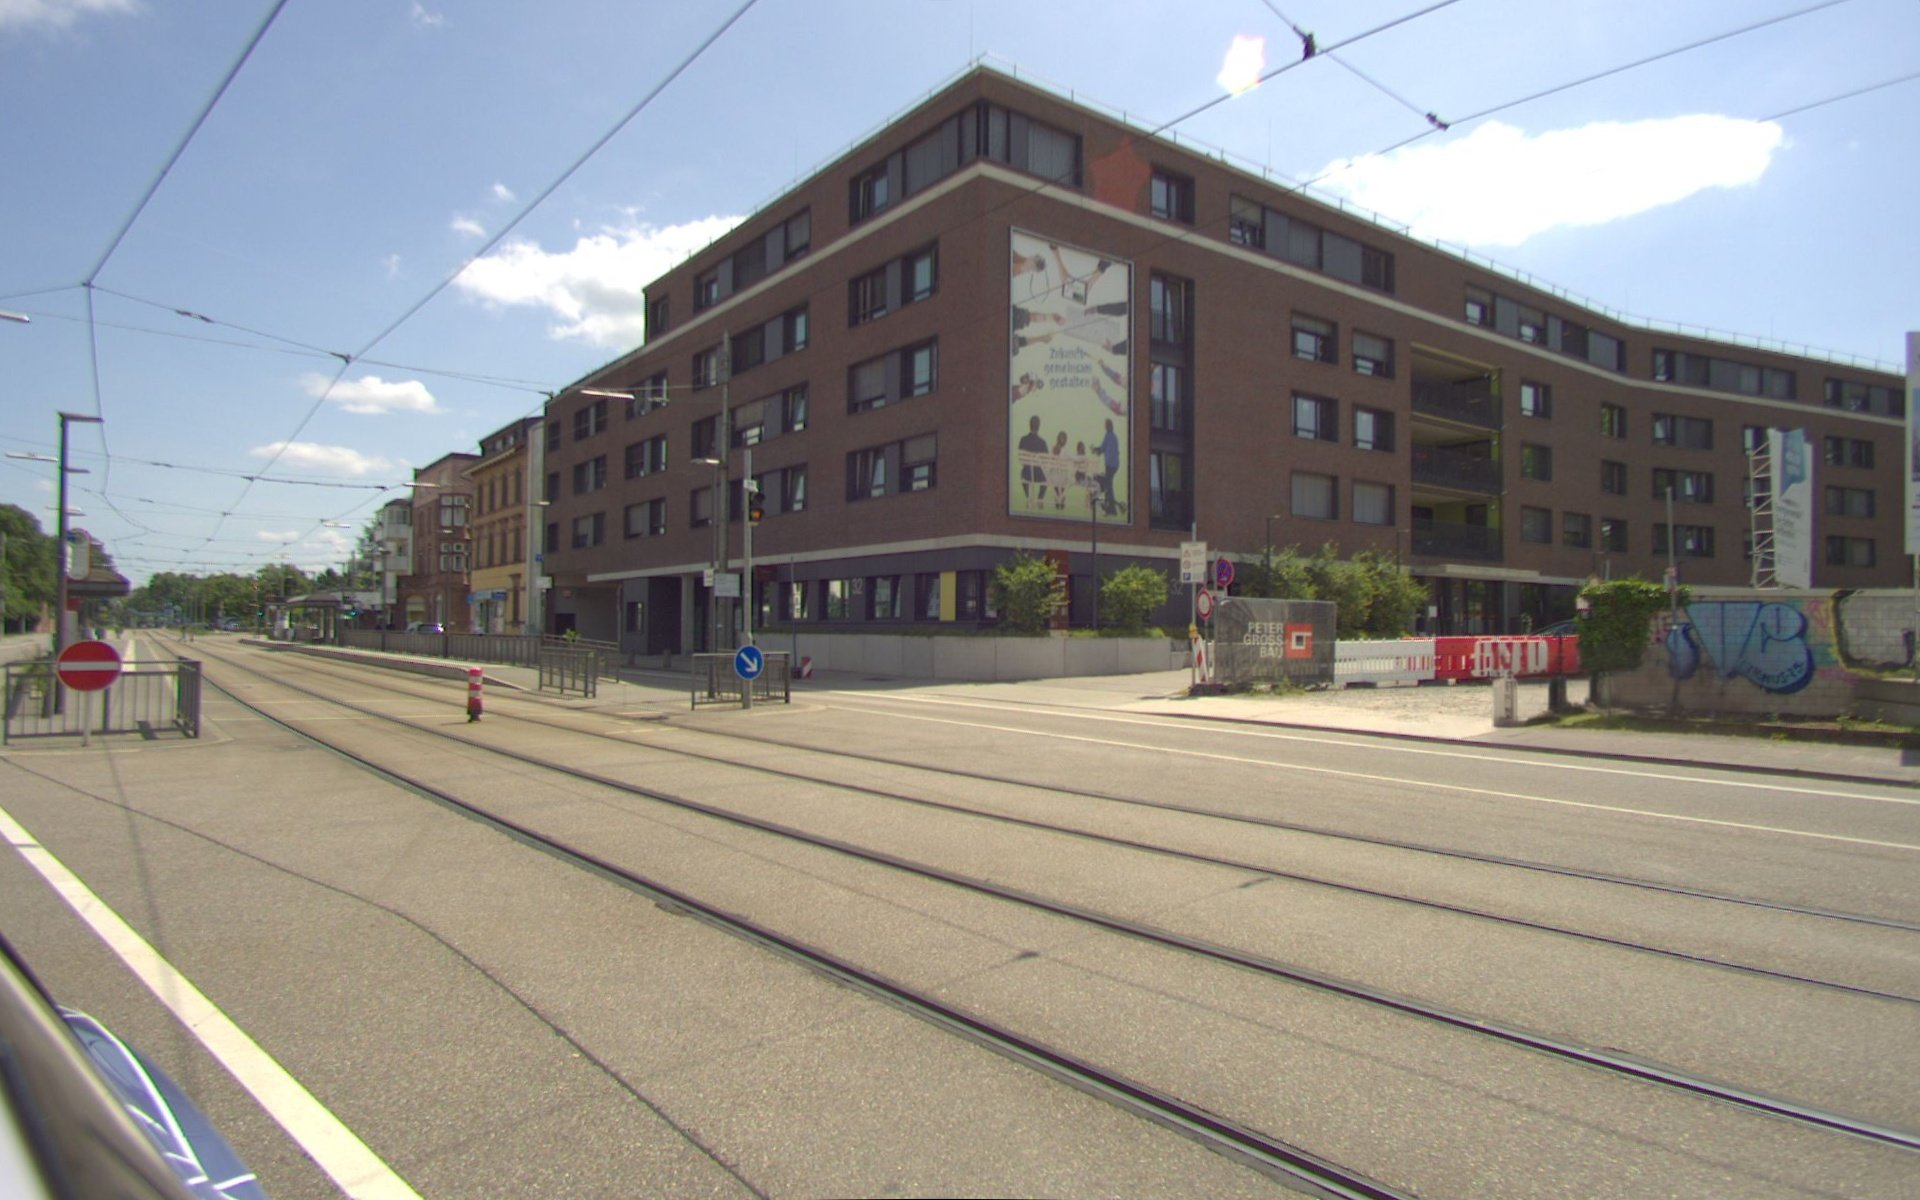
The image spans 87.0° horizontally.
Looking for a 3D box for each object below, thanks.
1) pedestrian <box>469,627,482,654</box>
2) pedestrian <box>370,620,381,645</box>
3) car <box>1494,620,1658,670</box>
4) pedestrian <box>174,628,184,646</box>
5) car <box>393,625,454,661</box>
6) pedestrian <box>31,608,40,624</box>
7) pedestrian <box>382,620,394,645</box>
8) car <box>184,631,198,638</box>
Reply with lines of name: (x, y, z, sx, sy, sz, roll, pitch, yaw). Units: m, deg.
pedestrian: (-24.912, 2.078, 52.006, 0.430, 1.395, 0.537, 4, -3, -40)
pedestrian: (-47.112, 2.597, 81.589, 0.668, 2.029, 0.686, 0, -1, -41)
car: (18.579, 1.324, 30.663, 1.603, 1.390, 3.917, 1, -2, -38)
pedestrian: (-66.521, 3.158, 86.214, 0.569, 1.568, 0.787, 4, -3, -36)
car: (-26.904, 2.133, 50.713, 1.814, 1.640, 3.777, 4, -3, -42)
pedestrian: (-113.603, 1.982, 124.324, 0.755, 1.866, 0.718, 2, -3, -43)
pedestrian: (-46.362, 2.654, 82.022, 0.610, 2.029, 0.811, 2, -2, -41)
car: (-159.393, 7.121, 209.738, 1.968, 1.482, 4.408, 2, -3, -40)
